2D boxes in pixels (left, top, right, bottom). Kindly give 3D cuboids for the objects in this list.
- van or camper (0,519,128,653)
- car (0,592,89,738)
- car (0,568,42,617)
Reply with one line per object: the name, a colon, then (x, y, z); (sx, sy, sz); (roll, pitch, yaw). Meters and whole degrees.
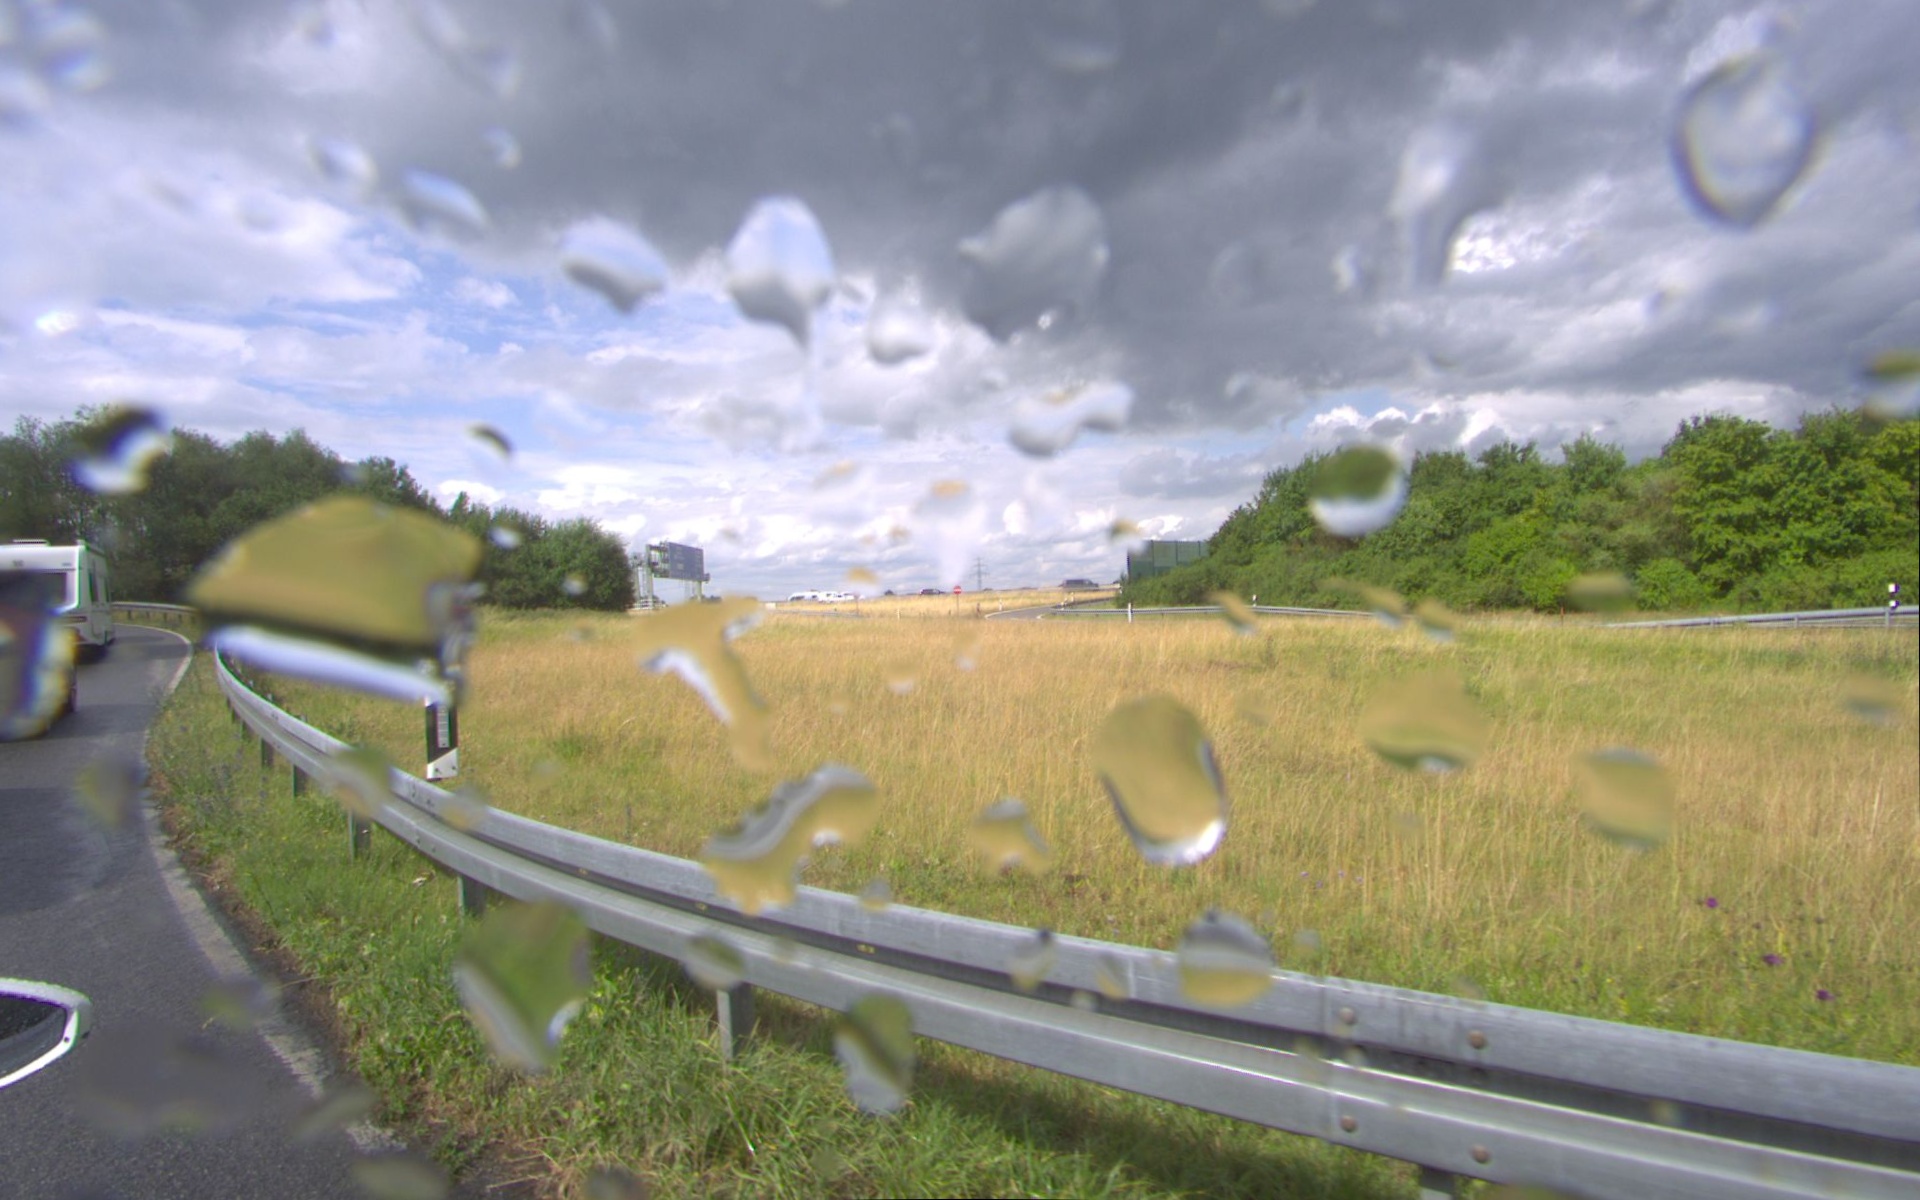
van or camper: (-21.175, -0.316, 23.252); (2.408, 2.766, 5.957); (0, 1, -36)
car: (-11.900, 0.693, 12.030); (1.701, 1.545, 3.972); (-1, 1, -35)
car: (-38.712, -0.236, 39.549); (4.978, 1.886, 1.991); (-1, 1, 28)
